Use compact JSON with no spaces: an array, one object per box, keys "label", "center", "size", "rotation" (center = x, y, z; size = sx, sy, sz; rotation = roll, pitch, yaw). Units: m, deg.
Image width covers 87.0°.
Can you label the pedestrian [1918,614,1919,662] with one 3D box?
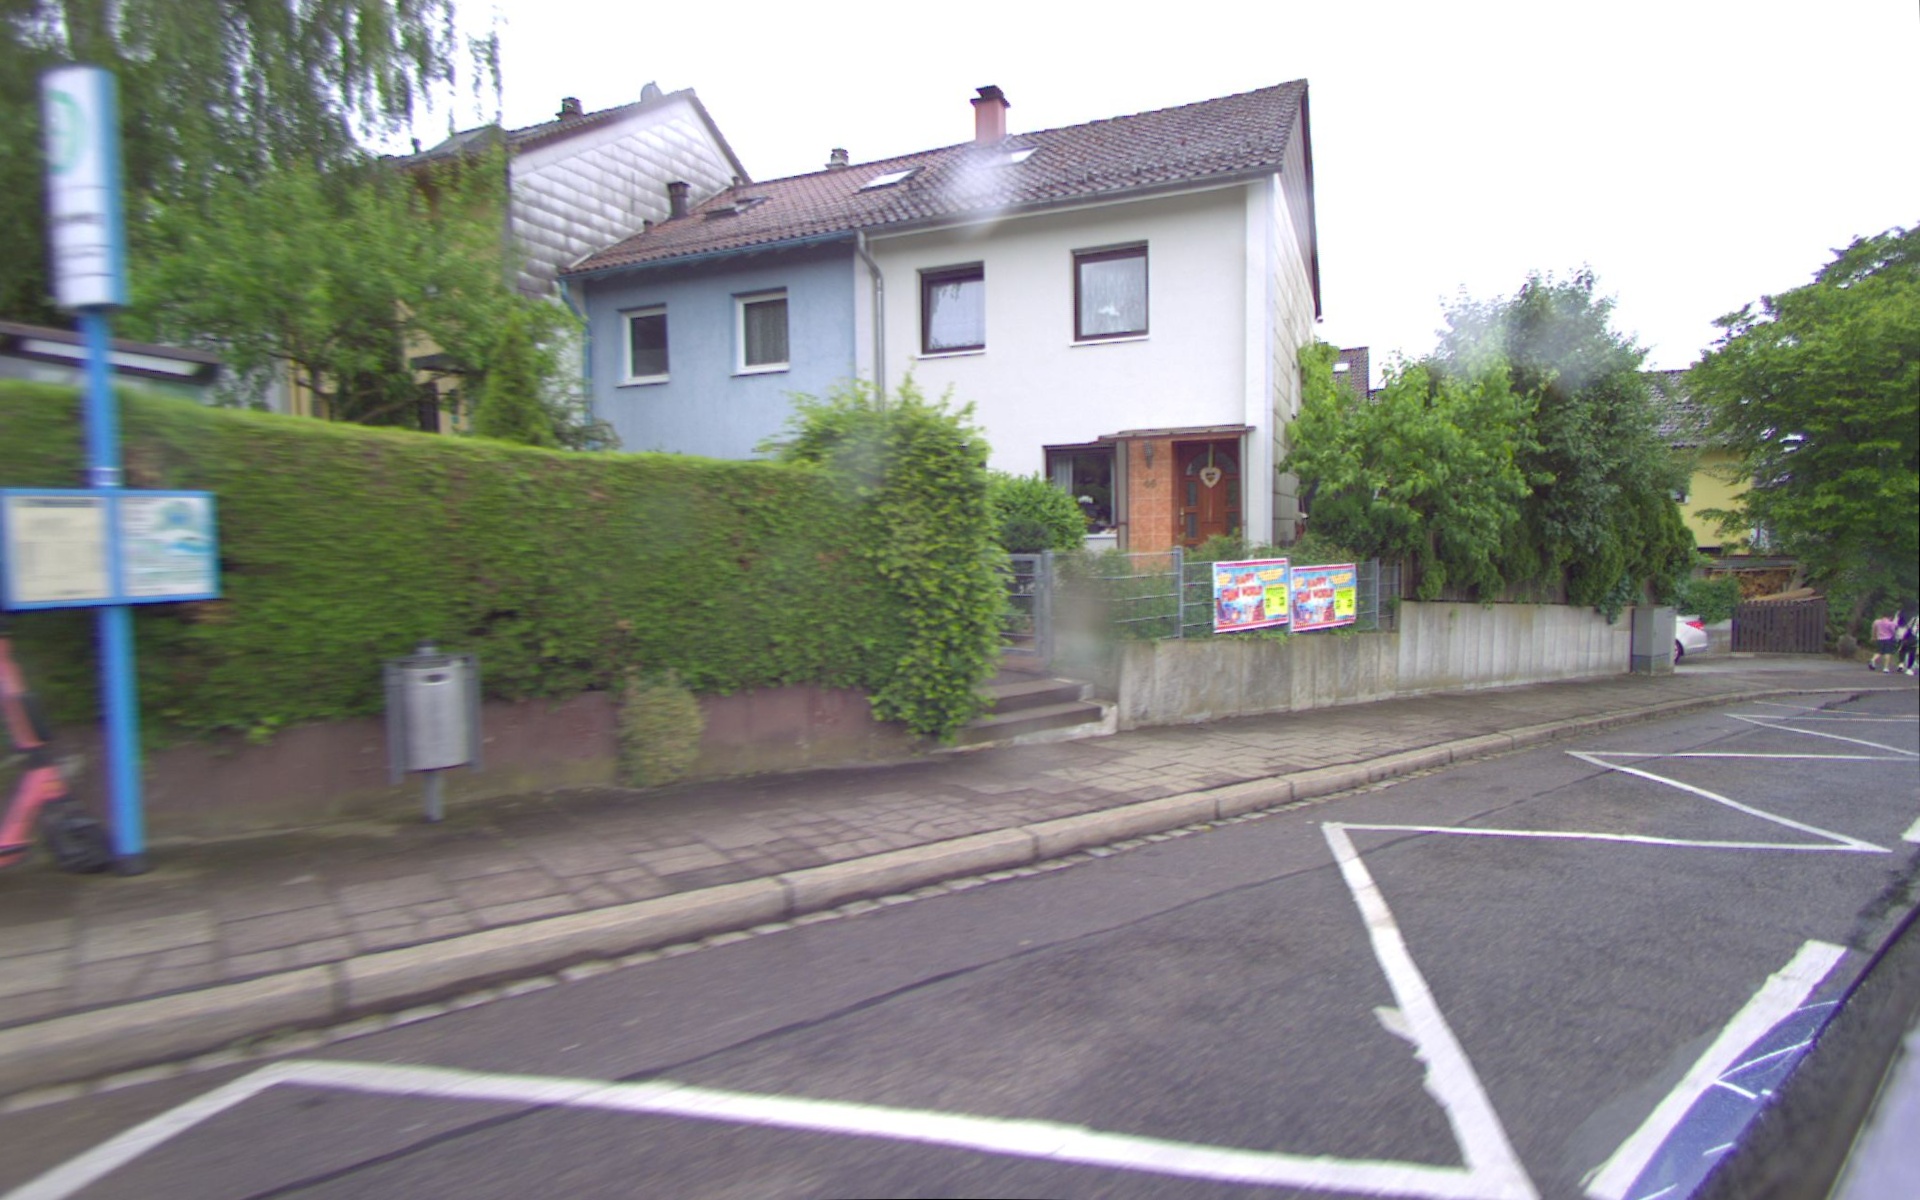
[{"label":"pedestrian","center":[21.477,0.798,22.340],"size":[0.359,1.161,0.369],"rotation":[1,1,-32]}]

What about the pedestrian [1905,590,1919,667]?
[{"label":"pedestrian","center":[20.594,0.604,21.456],"size":[0.633,1.613,0.612],"rotation":[1,1,-32]}]

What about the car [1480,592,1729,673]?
[{"label":"car","center":[15.033,0.762,23.931],"size":[4.546,1.438,1.778],"rotation":[-6,-1,21]}]

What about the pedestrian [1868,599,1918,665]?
[{"label":"pedestrian","center":[20.261,0.687,21.976],"size":[0.633,1.371,0.605],"rotation":[1,1,-32]}]
